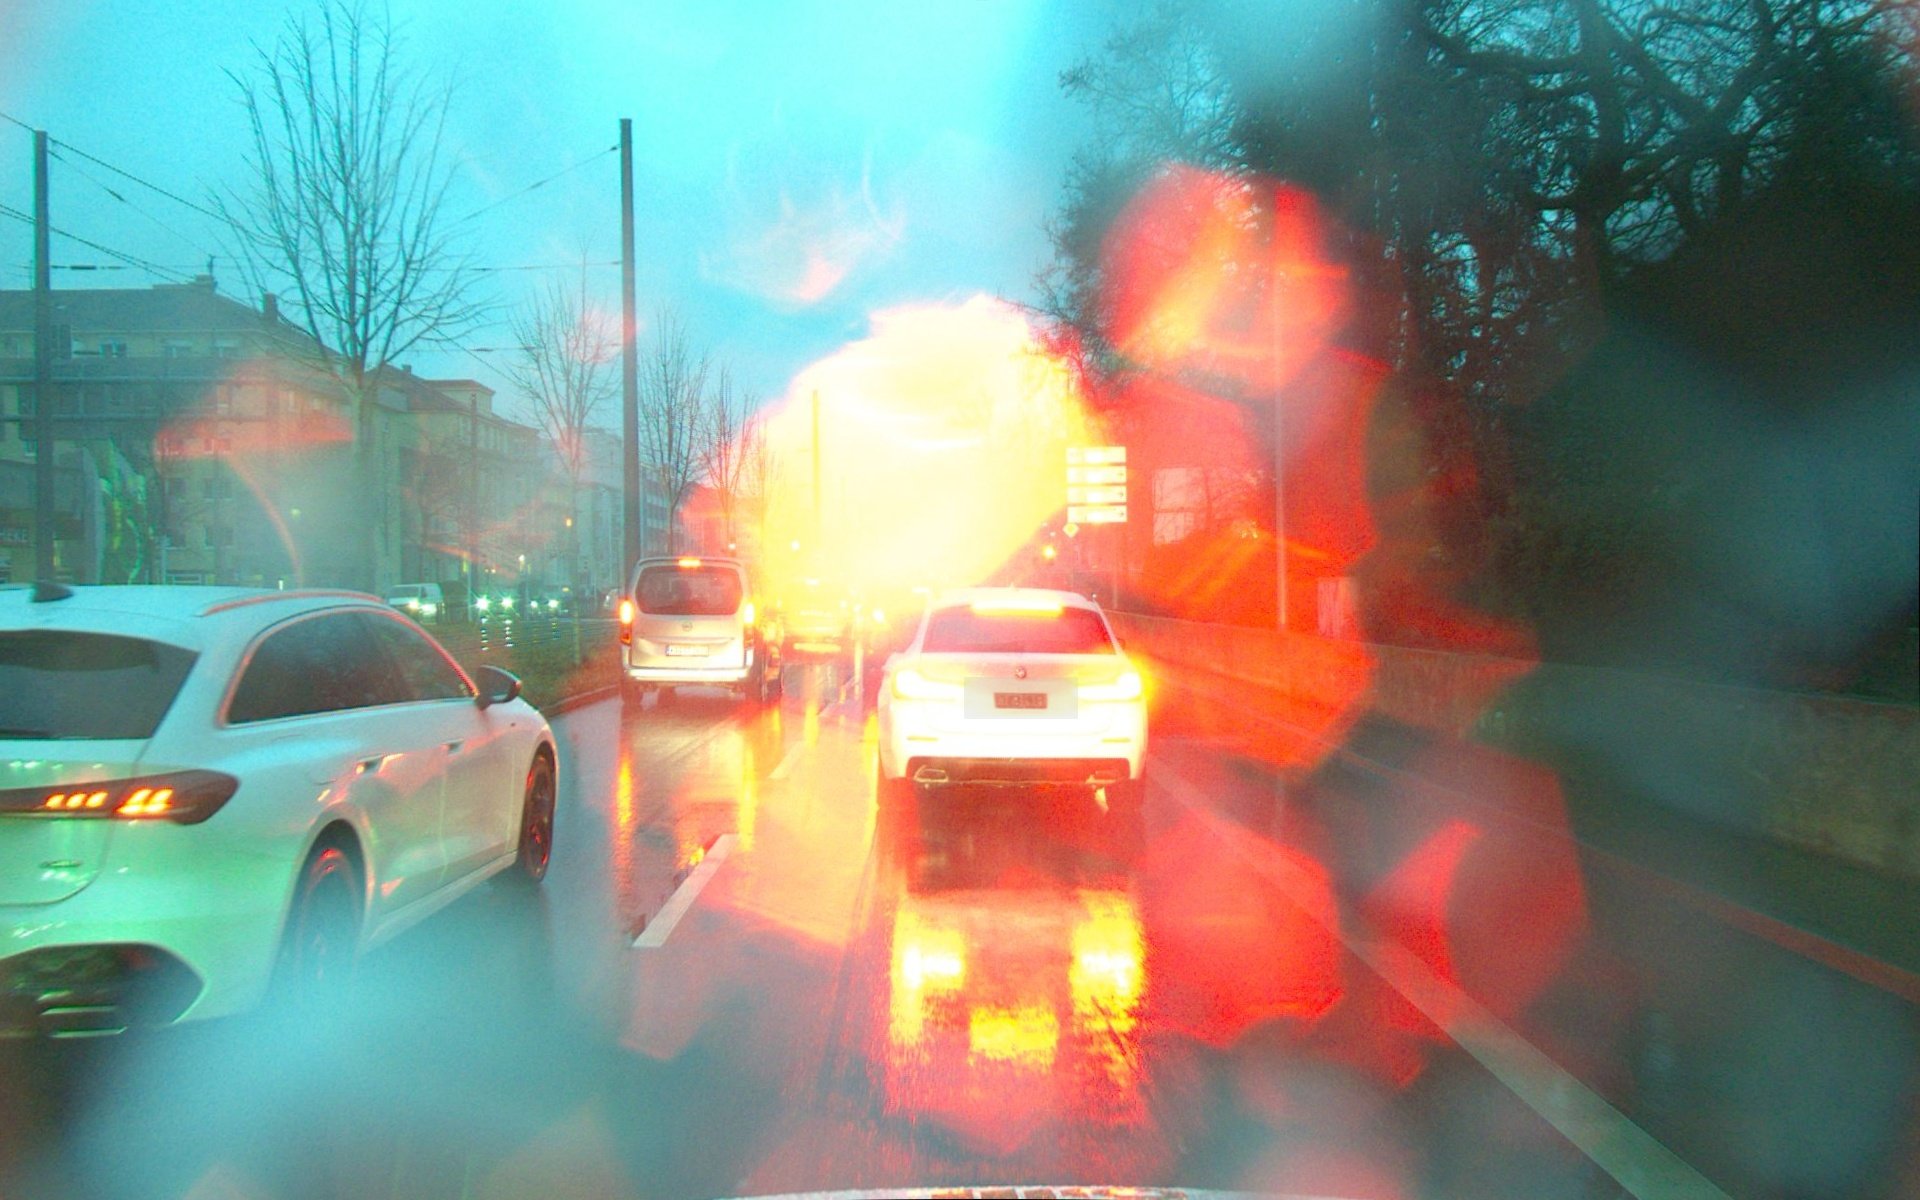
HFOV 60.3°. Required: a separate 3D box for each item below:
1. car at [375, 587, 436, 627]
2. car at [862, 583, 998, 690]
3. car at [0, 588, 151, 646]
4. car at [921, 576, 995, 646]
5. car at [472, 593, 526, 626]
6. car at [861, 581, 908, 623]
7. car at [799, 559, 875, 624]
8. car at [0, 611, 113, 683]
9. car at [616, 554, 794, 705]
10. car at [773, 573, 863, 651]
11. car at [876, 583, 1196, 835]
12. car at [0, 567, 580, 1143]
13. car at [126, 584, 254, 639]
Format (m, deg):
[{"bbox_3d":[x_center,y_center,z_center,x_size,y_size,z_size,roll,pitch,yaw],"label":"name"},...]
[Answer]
[{"bbox_3d":[-28.031,0.333,83.792,1.956,1.945,5.154,-1,1,-8],"label":"car"},{"bbox_3d":[-0.446,0.490,25.086,1.896,1.483,4.163,0,1,-1],"label":"car"},{"bbox_3d":[-32.609,0.576,60.460,1.966,1.945,5.129,-1,1,43],"label":"car"},{"bbox_3d":[-0.074,0.239,41.637,1.770,1.674,3.999,0,1,-1],"label":"car"},{"bbox_3d":[-25.100,0.491,90.196,1.858,1.662,4.577,-1,1,-3],"label":"car"},{"bbox_3d":[-3.076,0.061,68.083,1.770,1.674,3.999,0,1,-1],"label":"car"},{"bbox_3d":[-3.489,-0.244,47.533,1.953,1.785,3.999,1,0,-2],"label":"car"},{"bbox_3d":[-24.870,1.212,44.298,1.857,1.749,4.916,-1,1,0],"label":"car"},{"bbox_3d":[-3.230,0.338,21.760,1.757,1.766,4.536,1,0,-2],"label":"car"},{"bbox_3d":[-3.196,0.234,37.827,1.770,1.674,3.999,0,1,-1],"label":"car"},{"bbox_3d":[0.431,0.642,12.185,1.959,1.534,4.163,0,1,-1],"label":"car"},{"bbox_3d":[-2.880,0.620,6.402,1.809,1.429,4.613,1,0,-1],"label":"car"},{"bbox_3d":[-26.061,0.342,56.203,1.856,1.749,4.918,-1,1,2],"label":"car"}]
